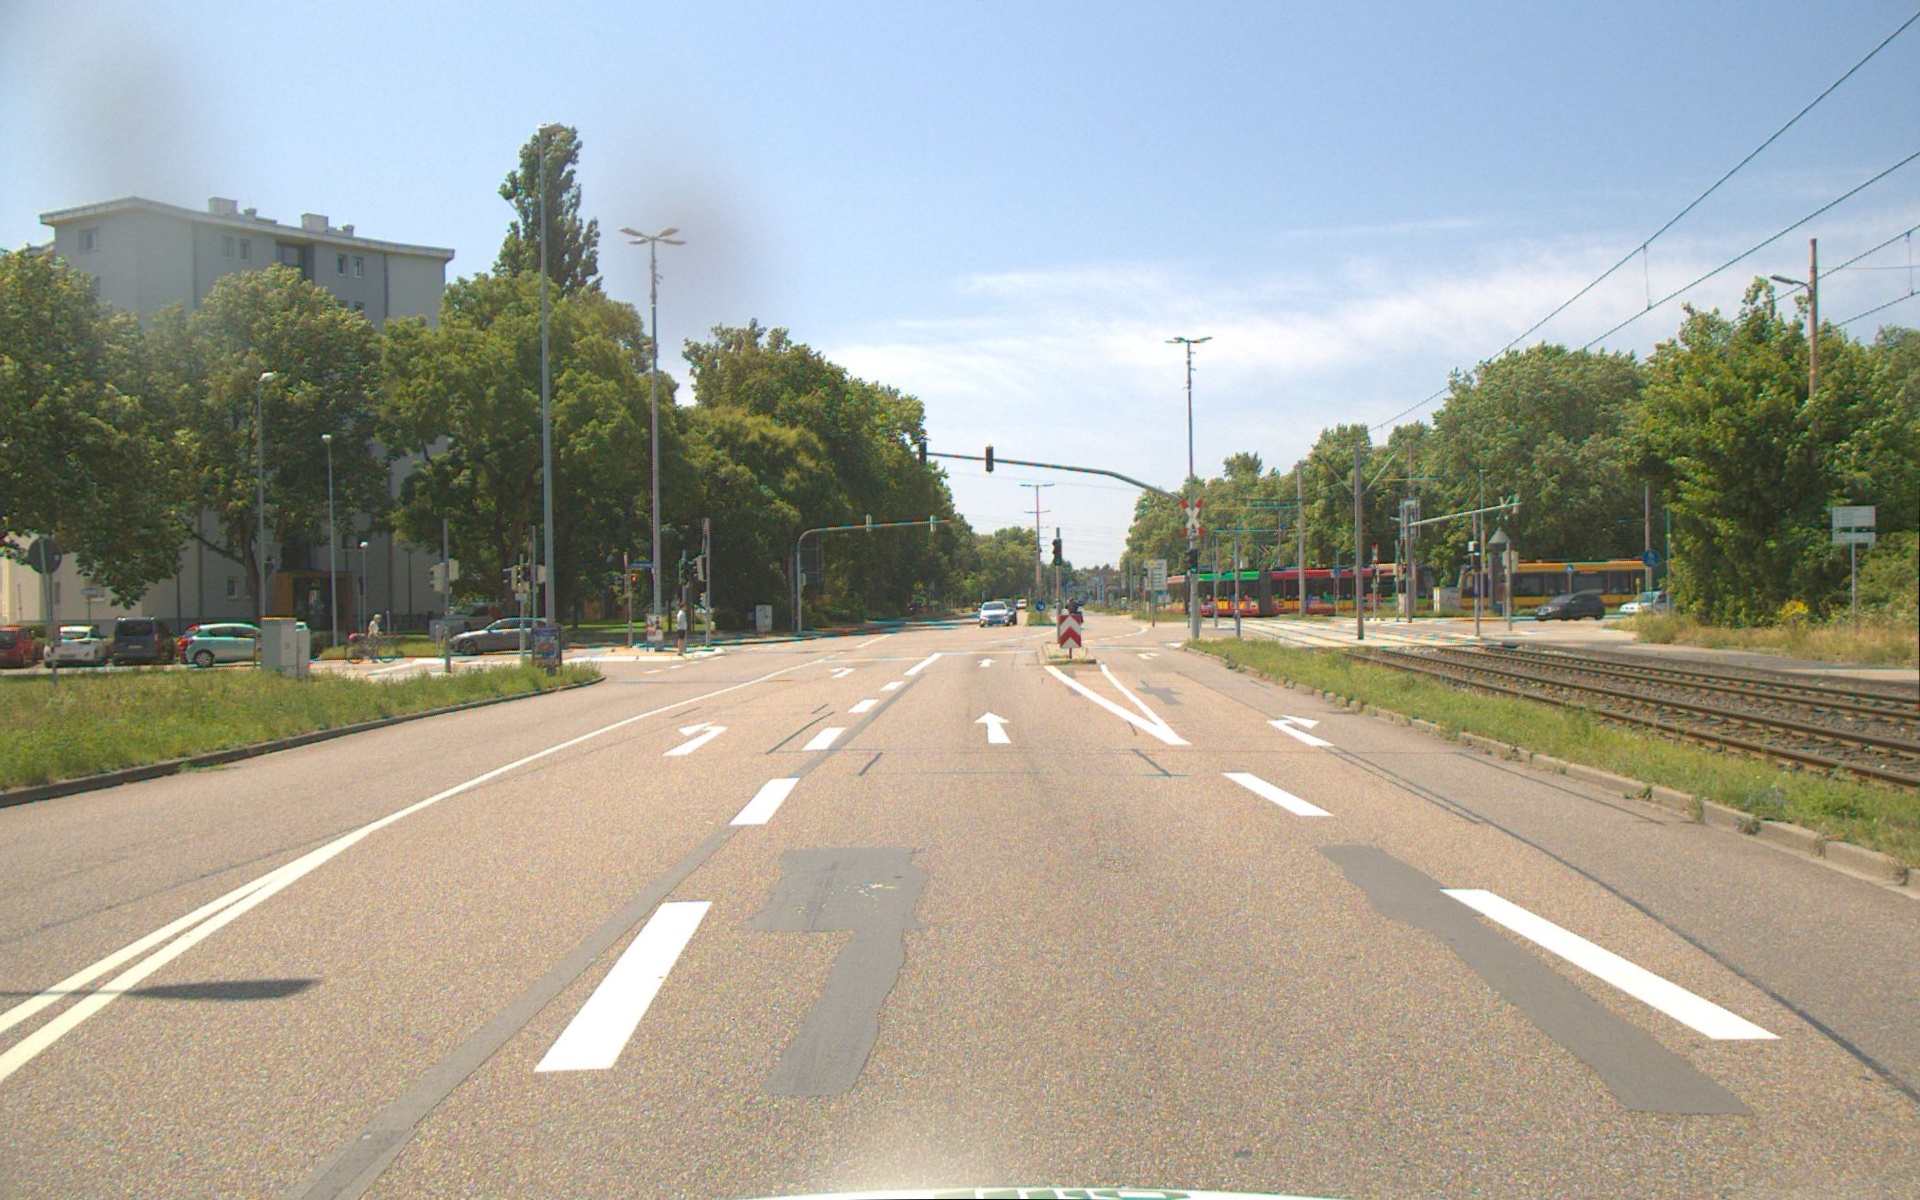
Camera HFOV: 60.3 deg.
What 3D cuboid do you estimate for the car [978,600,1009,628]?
[{"bbox_3d":[2.040,0.842,99.796,1.747,1.657,3.867,-1,0,3],"label":"car"}]

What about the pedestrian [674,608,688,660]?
[{"bbox_3d":[-9.326,1.126,55.329,0.374,1.717,0.486,-1,0,-1],"label":"pedestrian"}]

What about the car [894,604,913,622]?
[{"bbox_3d":[-6.519,1.540,191.393,1.953,2.049,4.000,2,-1,0],"label":"car"}]

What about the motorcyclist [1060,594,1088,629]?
[{"bbox_3d":[5.561,0.551,80.622,0.778,1.671,1.204,-1,-1,42],"label":"motorcyclist"}]

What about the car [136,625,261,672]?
[{"bbox_3d":[-26.554,1.681,57.788,3.830,1.494,1.764,-1,0,-22],"label":"car"}]

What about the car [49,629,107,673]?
[{"bbox_3d":[-35.019,2.011,65.722,1.682,1.620,3.971,0,0,-23],"label":"car"}]

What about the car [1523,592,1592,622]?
[{"bbox_3d":[31.897,0.369,88.289,3.459,1.488,1.624,-2,0,-29],"label":"car"}]

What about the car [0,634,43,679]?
[{"bbox_3d":[-37.330,2.214,65.232,1.824,1.697,3.965,-1,-1,-27],"label":"car"}]

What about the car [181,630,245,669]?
[{"bbox_3d":[-30.227,1.976,67.029,1.590,1.489,3.987,0,0,-13],"label":"car"}]

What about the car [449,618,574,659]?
[{"bbox_3d":[-17.848,1.523,65.929,4.526,1.525,1.910,-1,0,-6],"label":"car"}]

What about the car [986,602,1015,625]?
[{"bbox_3d":[2.640,0.854,107.317,1.675,1.389,3.867,-1,0,3],"label":"car"}]

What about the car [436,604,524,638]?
[{"bbox_3d":[-27.202,1.175,93.866,1.760,1.799,4.520,-1,0,43],"label":"car"}]

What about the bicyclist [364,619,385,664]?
[{"bbox_3d":[-20.339,1.435,57.472,0.654,1.564,0.627,-1,0,-19],"label":"bicyclist"}]

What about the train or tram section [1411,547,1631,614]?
[{"bbox_3d":[37.409,-1.207,110.683,13.709,3.988,2.923,-1,-3,21],"label":"train or tram section"}]

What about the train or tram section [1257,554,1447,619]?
[{"bbox_3d":[27.424,-0.852,116.461,13.209,3.879,2.907,-3,-4,41],"label":"train or tram section"}]

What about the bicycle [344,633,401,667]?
[{"bbox_3d":[-20.397,1.732,57.445,1.836,1.113,0.642,-1,0,-20],"label":"bicycle"}]

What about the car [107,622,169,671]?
[{"bbox_3d":[-32.652,1.827,65.799,1.679,1.832,3.978,0,0,-19],"label":"car"}]

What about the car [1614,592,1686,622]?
[{"bbox_3d":[36.255,0.345,86.939,3.757,1.488,1.622,-1,0,-32],"label":"car"}]

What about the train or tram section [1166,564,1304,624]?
[{"bbox_3d":[20.603,-0.358,125.341,2.883,3.879,12.943,2,-3,-29],"label":"train or tram section"}]

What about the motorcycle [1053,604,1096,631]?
[{"bbox_3d":[5.583,0.855,80.668,0.834,1.277,2.435,-1,-1,41],"label":"motorcycle"}]

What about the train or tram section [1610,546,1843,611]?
[{"bbox_3d":[49.882,-1.374,107.977,13.627,3.988,2.924,0,-3,3],"label":"train or tram section"}]
